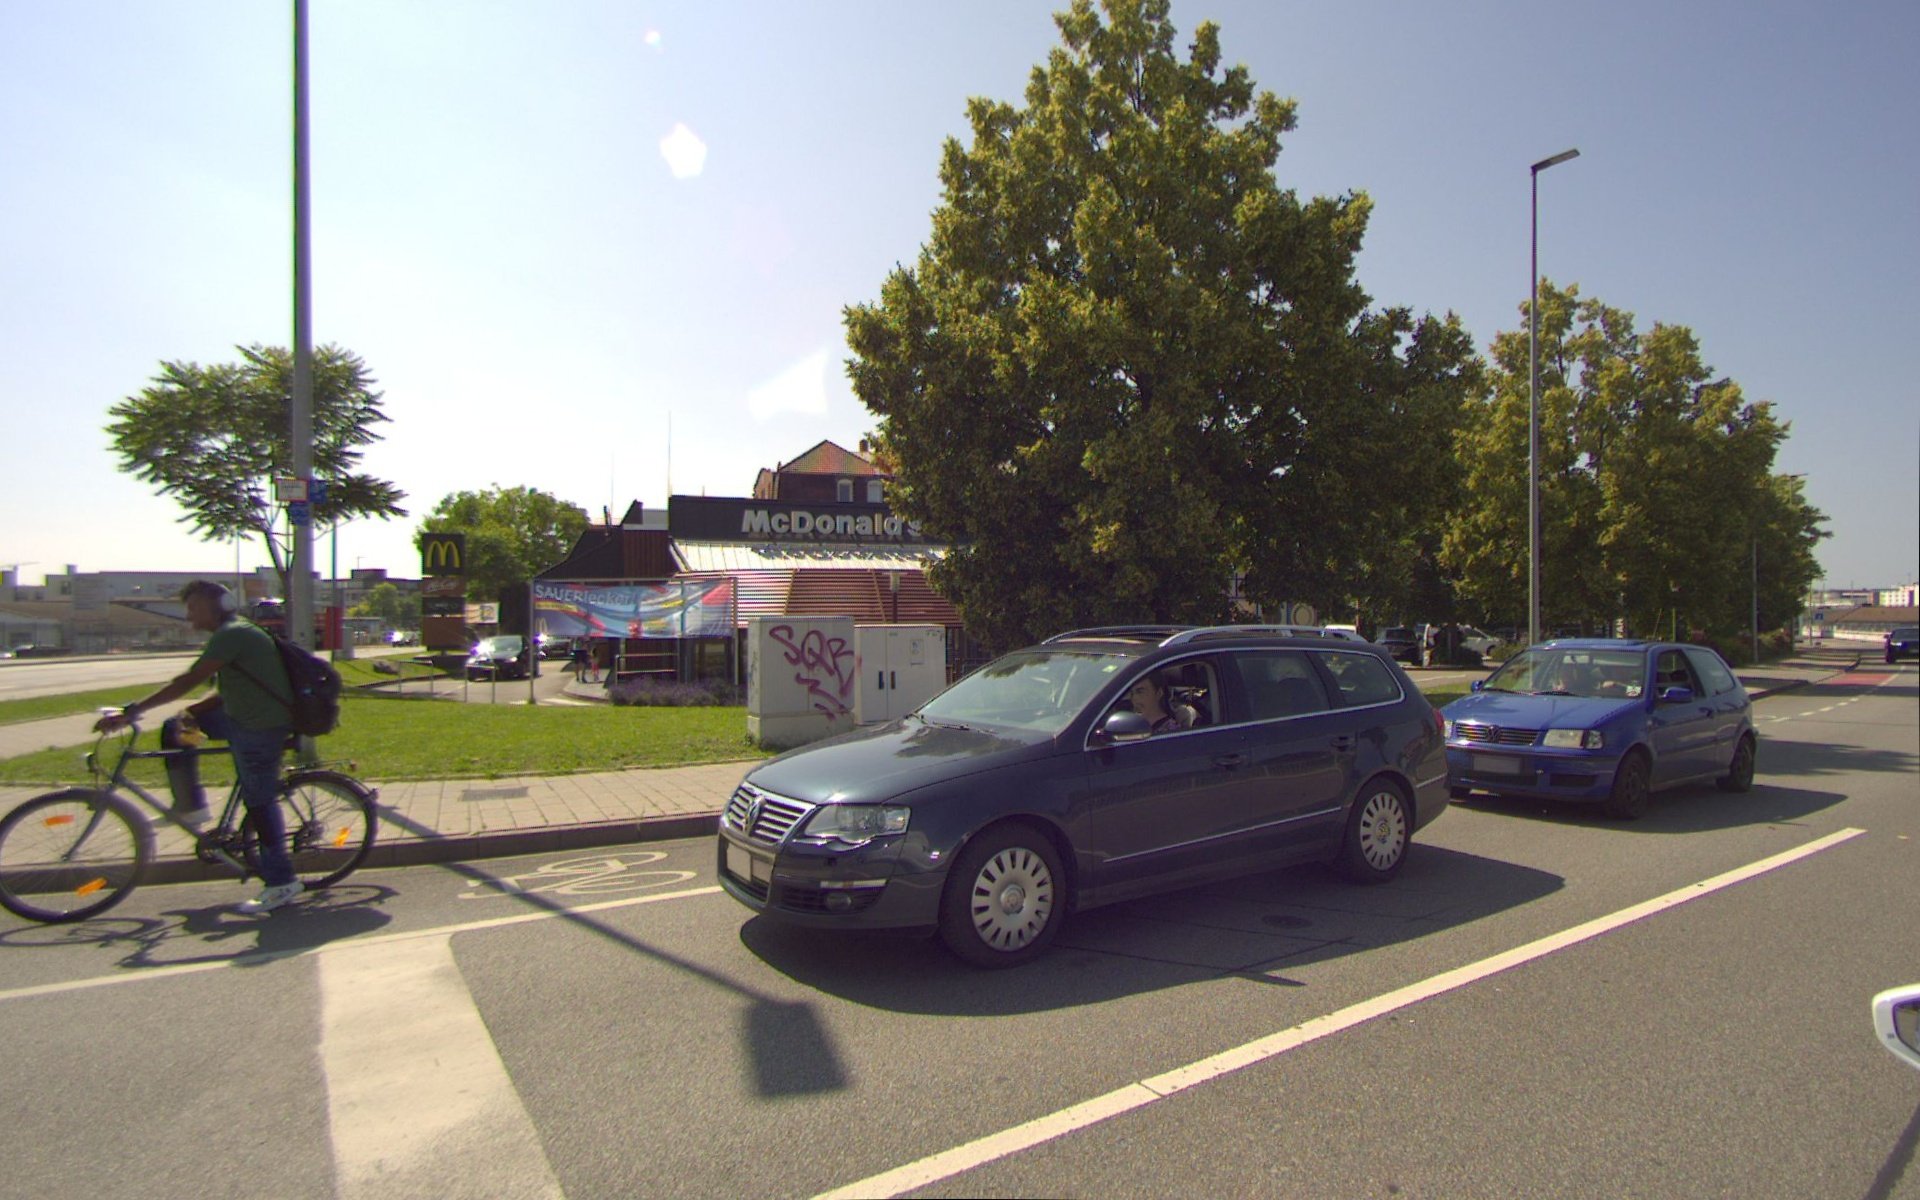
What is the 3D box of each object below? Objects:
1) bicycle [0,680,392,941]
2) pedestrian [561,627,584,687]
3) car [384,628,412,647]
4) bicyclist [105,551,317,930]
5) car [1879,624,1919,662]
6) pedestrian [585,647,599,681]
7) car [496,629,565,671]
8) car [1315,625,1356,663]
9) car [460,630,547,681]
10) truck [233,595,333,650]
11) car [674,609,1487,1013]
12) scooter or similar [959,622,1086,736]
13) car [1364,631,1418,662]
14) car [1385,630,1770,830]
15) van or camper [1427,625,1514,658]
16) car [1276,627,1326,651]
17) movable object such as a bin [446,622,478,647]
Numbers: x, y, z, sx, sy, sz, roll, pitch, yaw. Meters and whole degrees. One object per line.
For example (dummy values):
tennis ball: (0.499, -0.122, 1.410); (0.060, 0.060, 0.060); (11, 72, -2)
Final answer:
bicycle: (-3.992, 1.024, 5.294); (1.735, 1.119, 0.694); (1, -1, -30)
pedestrian: (-11.724, 1.713, 30.353); (0.629, 1.781, 0.888); (0, -1, -22)
car: (-53.855, 3.585, 96.248); (1.809, 1.684, 3.980); (0, -1, -22)
bicyclist: (-3.920, 0.683, 5.333); (0.799, 1.812, 0.707); (0, -1, -30)
car: (44.848, 1.988, 47.487); (1.928, 1.717, 4.589); (-1, -2, 41)
pedestrian: (-11.232, 1.945, 30.653); (0.376, 1.010, 0.508); (0, -1, -22)
car: (-17.248, 1.959, 40.531); (1.833, 1.572, 4.178); (0, -1, -13)
car: (18.090, 2.070, 48.313); (1.685, 1.758, 4.247); (-1, -1, 22)
car: (-15.321, 1.812, 33.939); (1.833, 1.572, 4.178); (0, -1, -13)
truck: (-45.205, 1.452, 67.385); (3.263, 3.431, 9.130); (0, -1, -19)
car: (0.915, 0.834, 5.827); (4.672, 1.516, 1.769); (1, -1, -33)
scooter or similar: (0.700, 0.851, 11.167); (1.347, 1.200, 0.470); (0, -1, -25)
car: (19.364, 2.074, 45.259); (1.576, 1.303, 4.003); (0, -1, 13)
car: (5.701, 0.994, 9.107); (3.962, 1.399, 1.644); (1, -1, -37)
van or camper: (28.244, 2.295, 55.636); (4.206, 1.763, 1.997); (-1, -1, 28)
car: (22.748, 2.561, 67.121); (1.477, 1.546, 3.422); (0, -1, -16)
movable object such as a bin: (-28.764, 1.967, 58.054); (1.446, 1.430, 1.450); (0, -1, -19)
